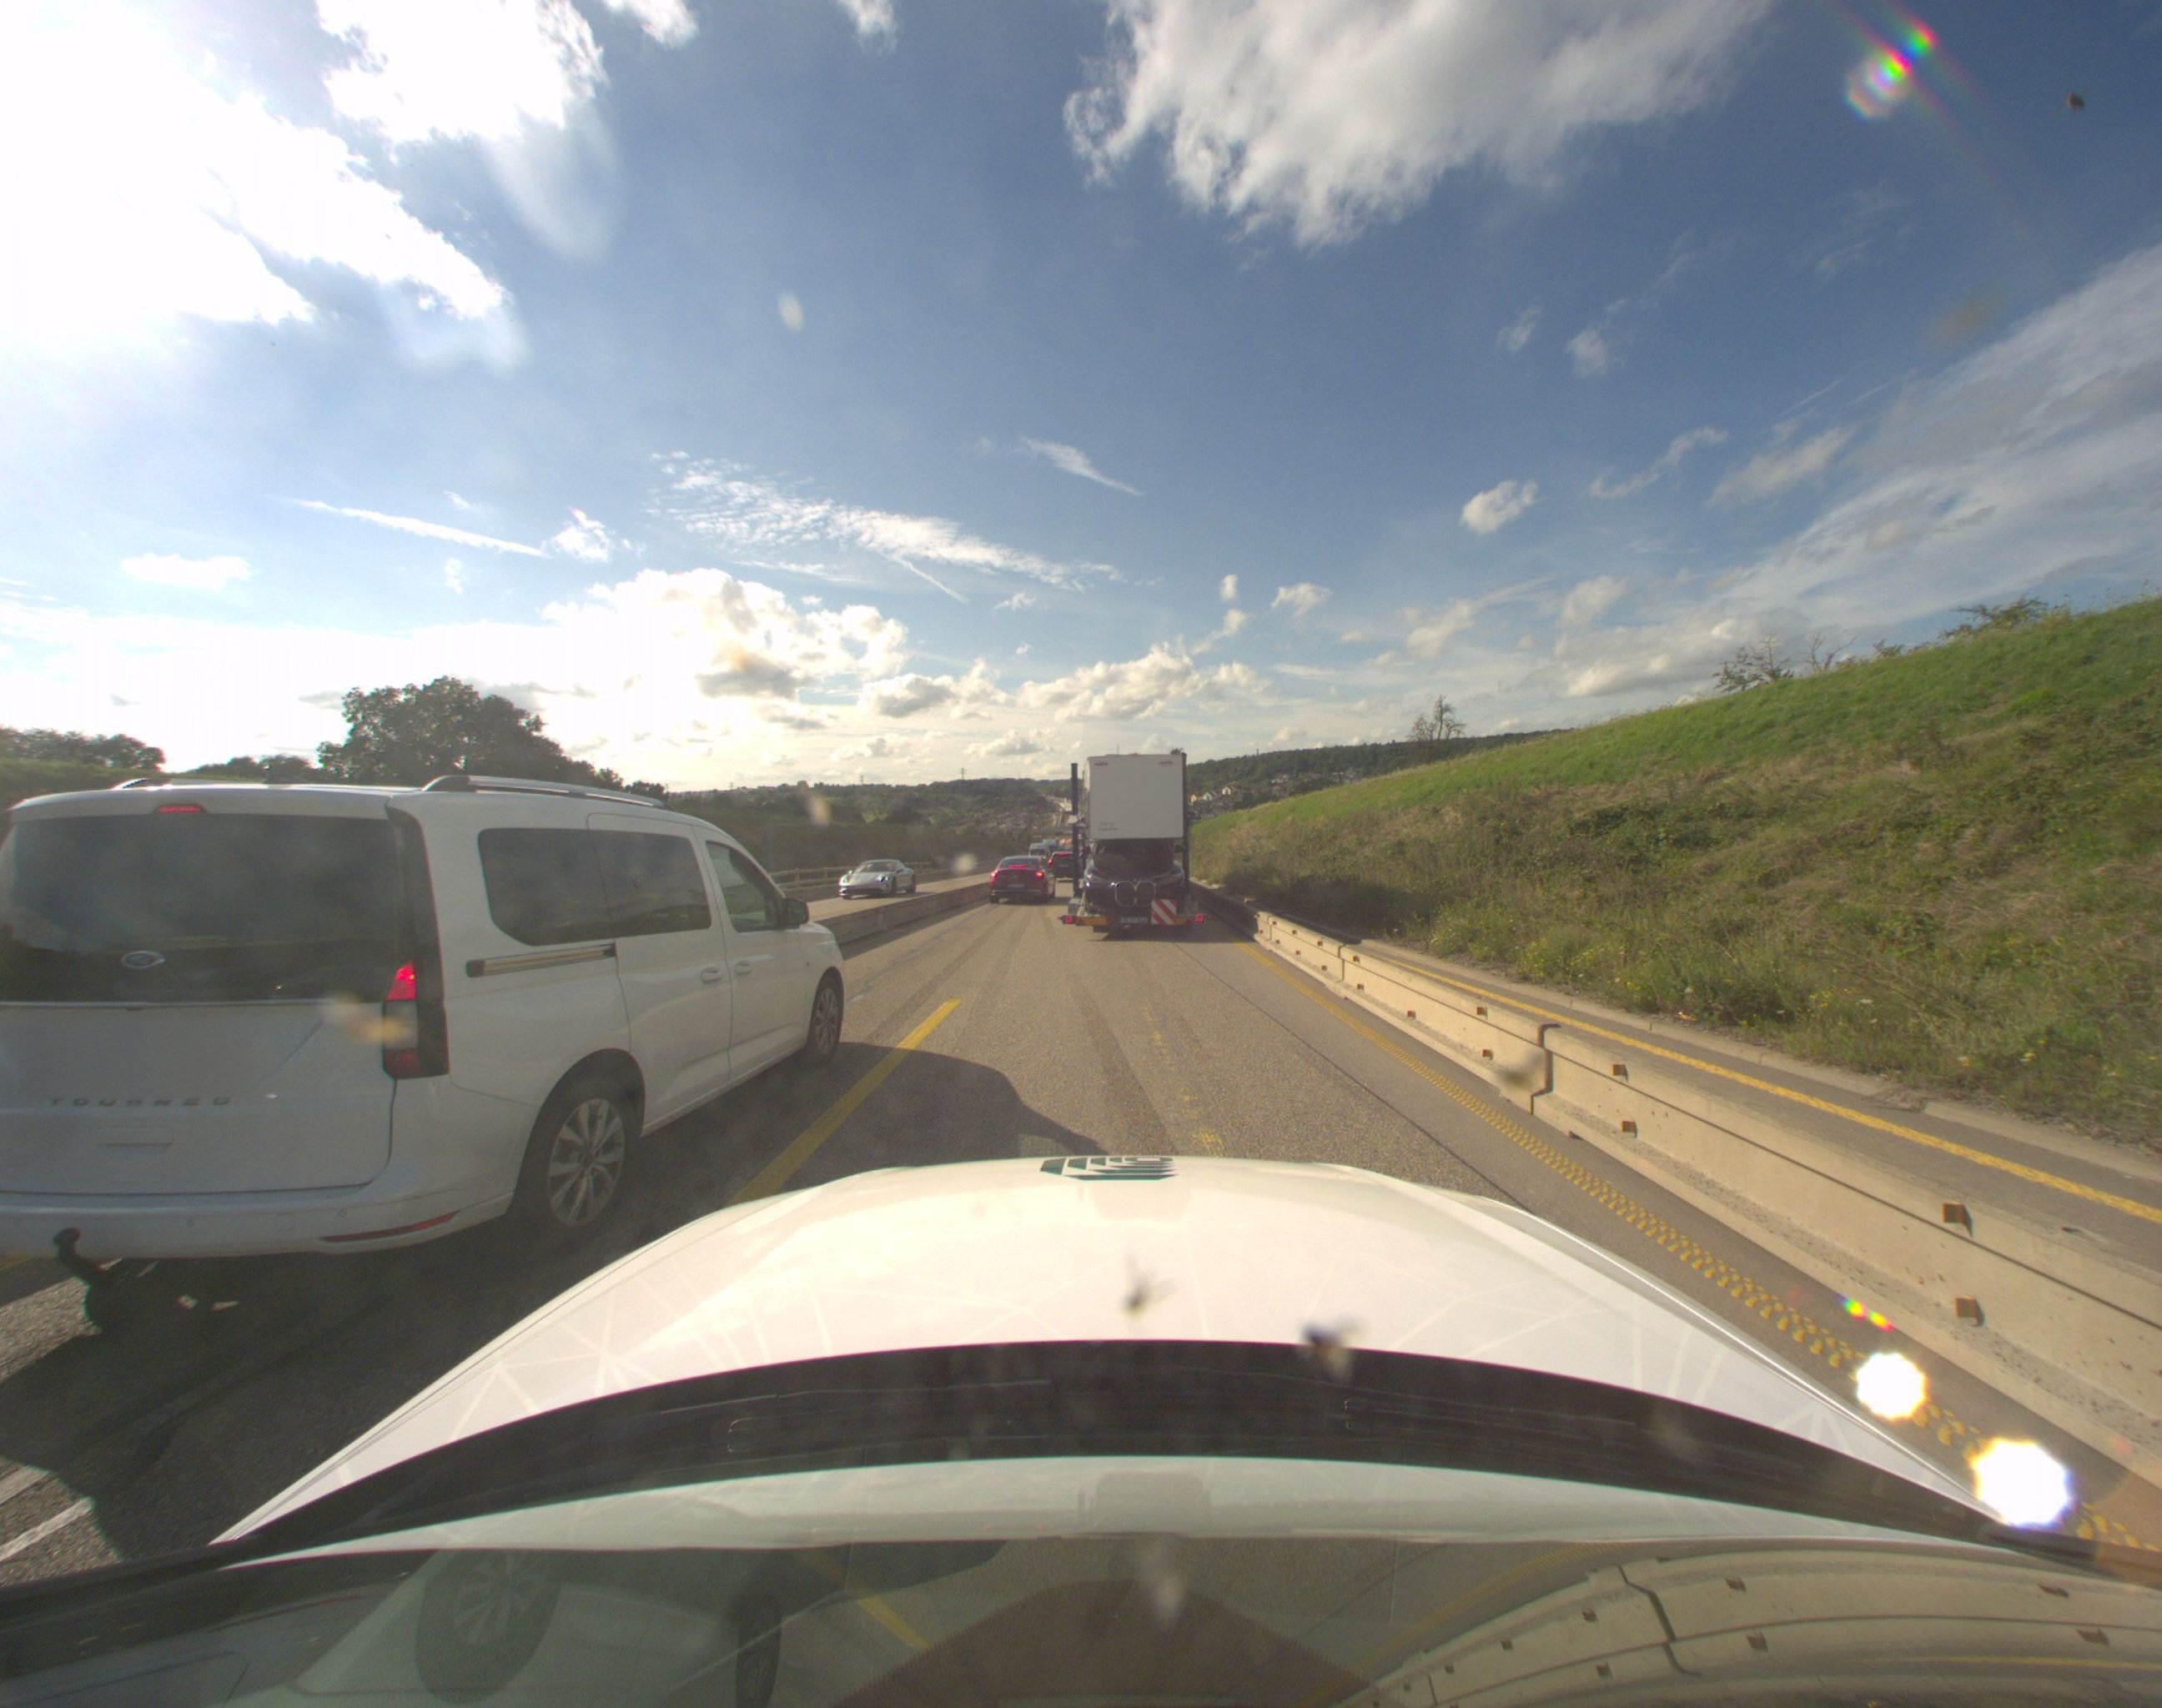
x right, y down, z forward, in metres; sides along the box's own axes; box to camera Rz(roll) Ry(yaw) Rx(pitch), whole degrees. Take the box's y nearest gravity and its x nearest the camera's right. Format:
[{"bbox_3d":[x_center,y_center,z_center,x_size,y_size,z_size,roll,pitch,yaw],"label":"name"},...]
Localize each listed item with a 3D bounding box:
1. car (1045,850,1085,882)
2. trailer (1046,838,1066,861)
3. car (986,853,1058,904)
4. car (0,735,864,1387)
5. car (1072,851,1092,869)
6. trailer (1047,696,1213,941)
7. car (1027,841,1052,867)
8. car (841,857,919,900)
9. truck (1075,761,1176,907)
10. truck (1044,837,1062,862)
[{"bbox_3d":[-0.819,0.628,44.873,1.986,1.625,4.752,0,0,2],"label":"car"},{"bbox_3d":[-4.530,-0.739,149.890,2.604,3.953,13.881,-1,0,2],"label":"trailer"},{"bbox_3d":[-1.833,0.733,26.722,1.816,1.492,4.687,0,1,2],"label":"car"},{"bbox_3d":[-2.768,0.558,4.511,1.816,1.823,4.458,0,0,1],"label":"car"},{"bbox_3d":[0.139,0.570,76.667,1.790,1.596,4.744,-1,0,1],"label":"car"},{"bbox_3d":[1.077,-0.608,19.347,2.697,4.029,11.426,-1,0,3],"label":"trailer"},{"bbox_3d":[-4.795,0.037,95.003,2.101,2.835,6.142,-4,0,2],"label":"car"},{"bbox_3d":[-7.666,0.884,31.509,1.728,1.425,4.628,-4,0,1],"label":"car"},{"bbox_3d":[1.355,-0.558,25.279,2.667,3.922,6.031,-1,0,3],"label":"truck"},{"bbox_3d":[-4.831,-0.749,143.068,2.604,4.153,5.784,-1,0,2],"label":"truck"}]
